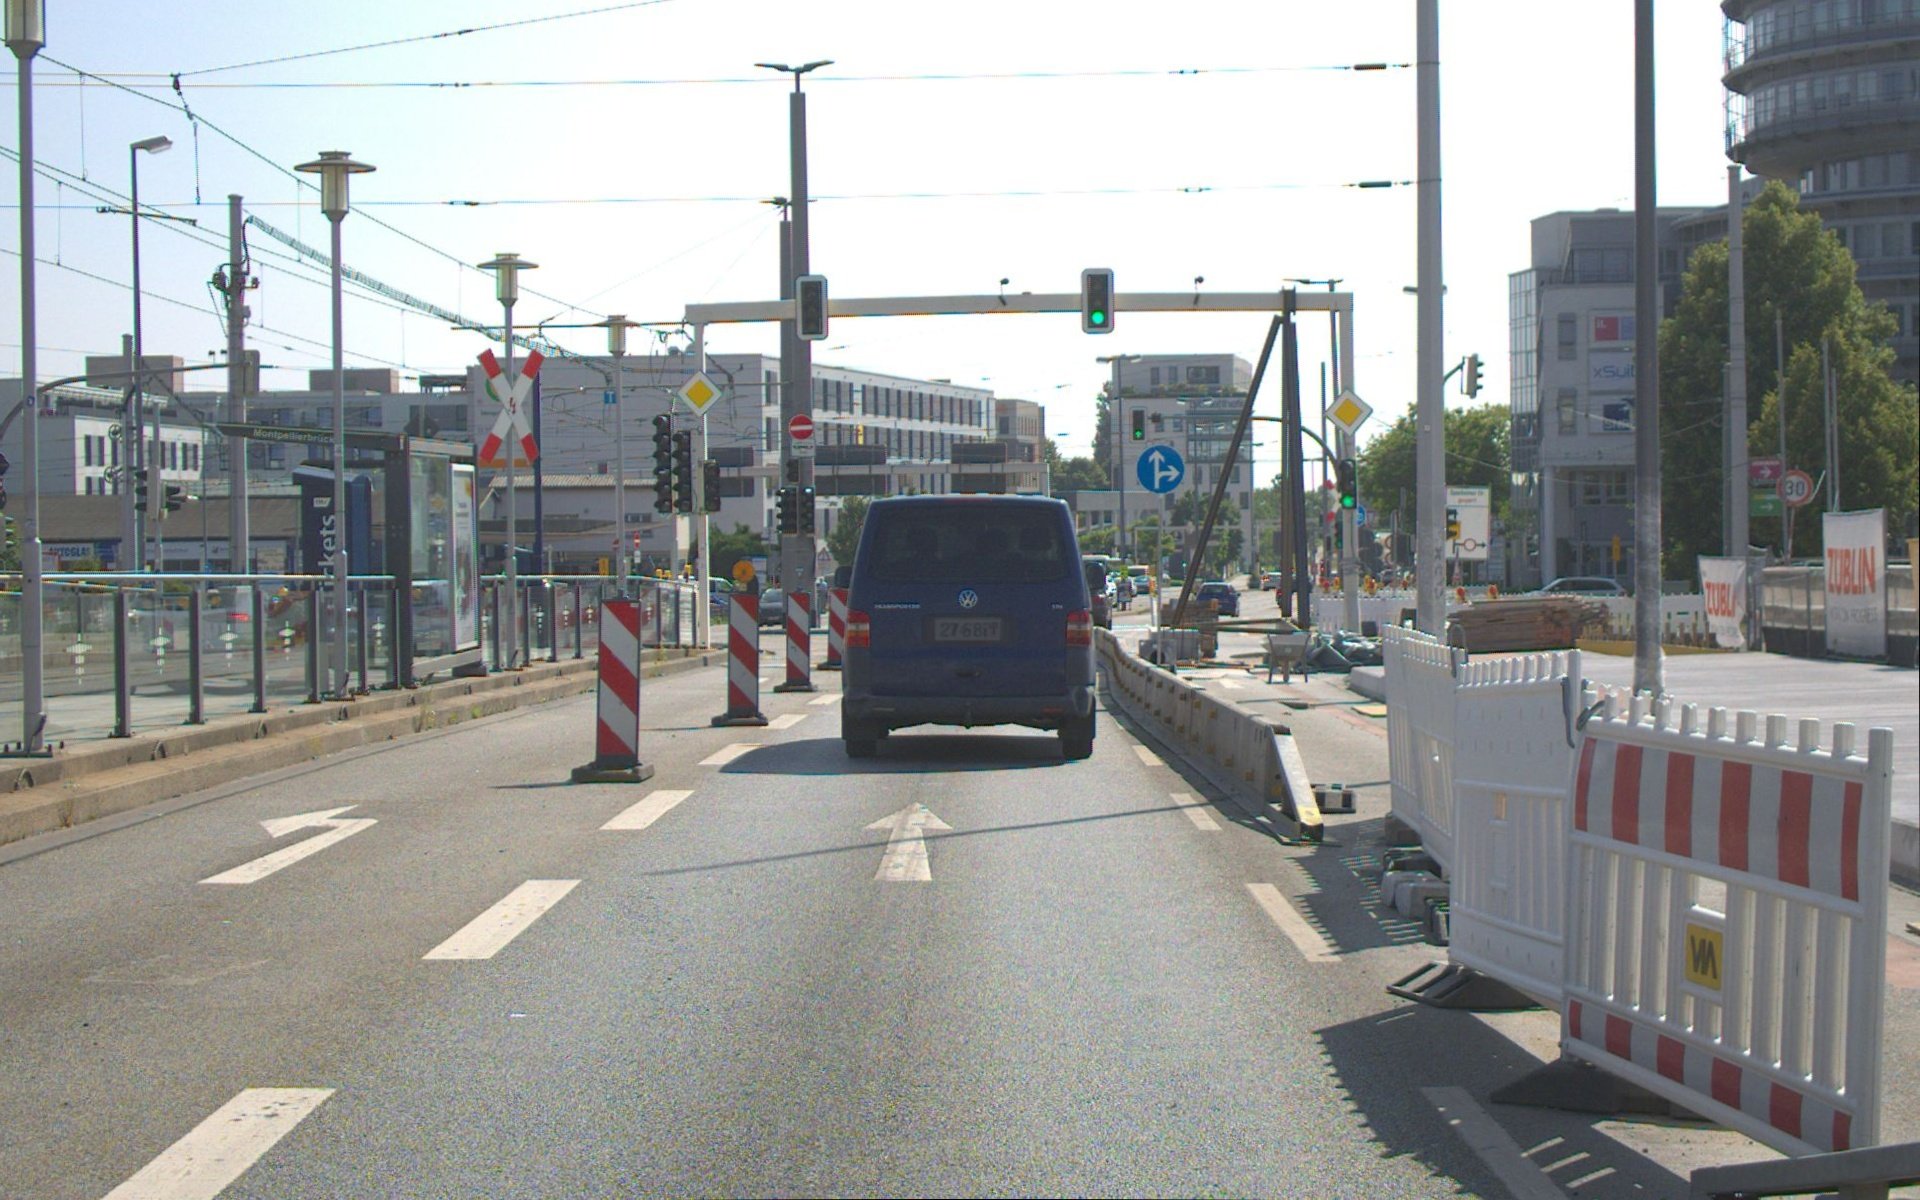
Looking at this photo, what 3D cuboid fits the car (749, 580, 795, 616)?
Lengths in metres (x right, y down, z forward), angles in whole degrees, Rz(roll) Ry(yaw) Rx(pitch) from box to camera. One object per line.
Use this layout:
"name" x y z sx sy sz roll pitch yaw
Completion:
"car" -8.038 -0.099 147.415 1.747 1.481 4.000 -1 1 0

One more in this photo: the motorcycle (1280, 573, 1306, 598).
"motorcycle" 17.603 -0.757 181.580 1.162 1.238 3.006 1 1 9

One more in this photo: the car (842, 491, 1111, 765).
"car" 0.149 0.148 26.612 1.888 1.927 4.000 1 2 1

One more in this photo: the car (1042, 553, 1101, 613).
"car" 3.364 -0.526 103.582 1.645 1.722 3.717 1 1 3

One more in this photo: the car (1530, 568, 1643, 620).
"car" 22.859 -0.220 125.485 3.813 1.791 1.681 1 2 2
